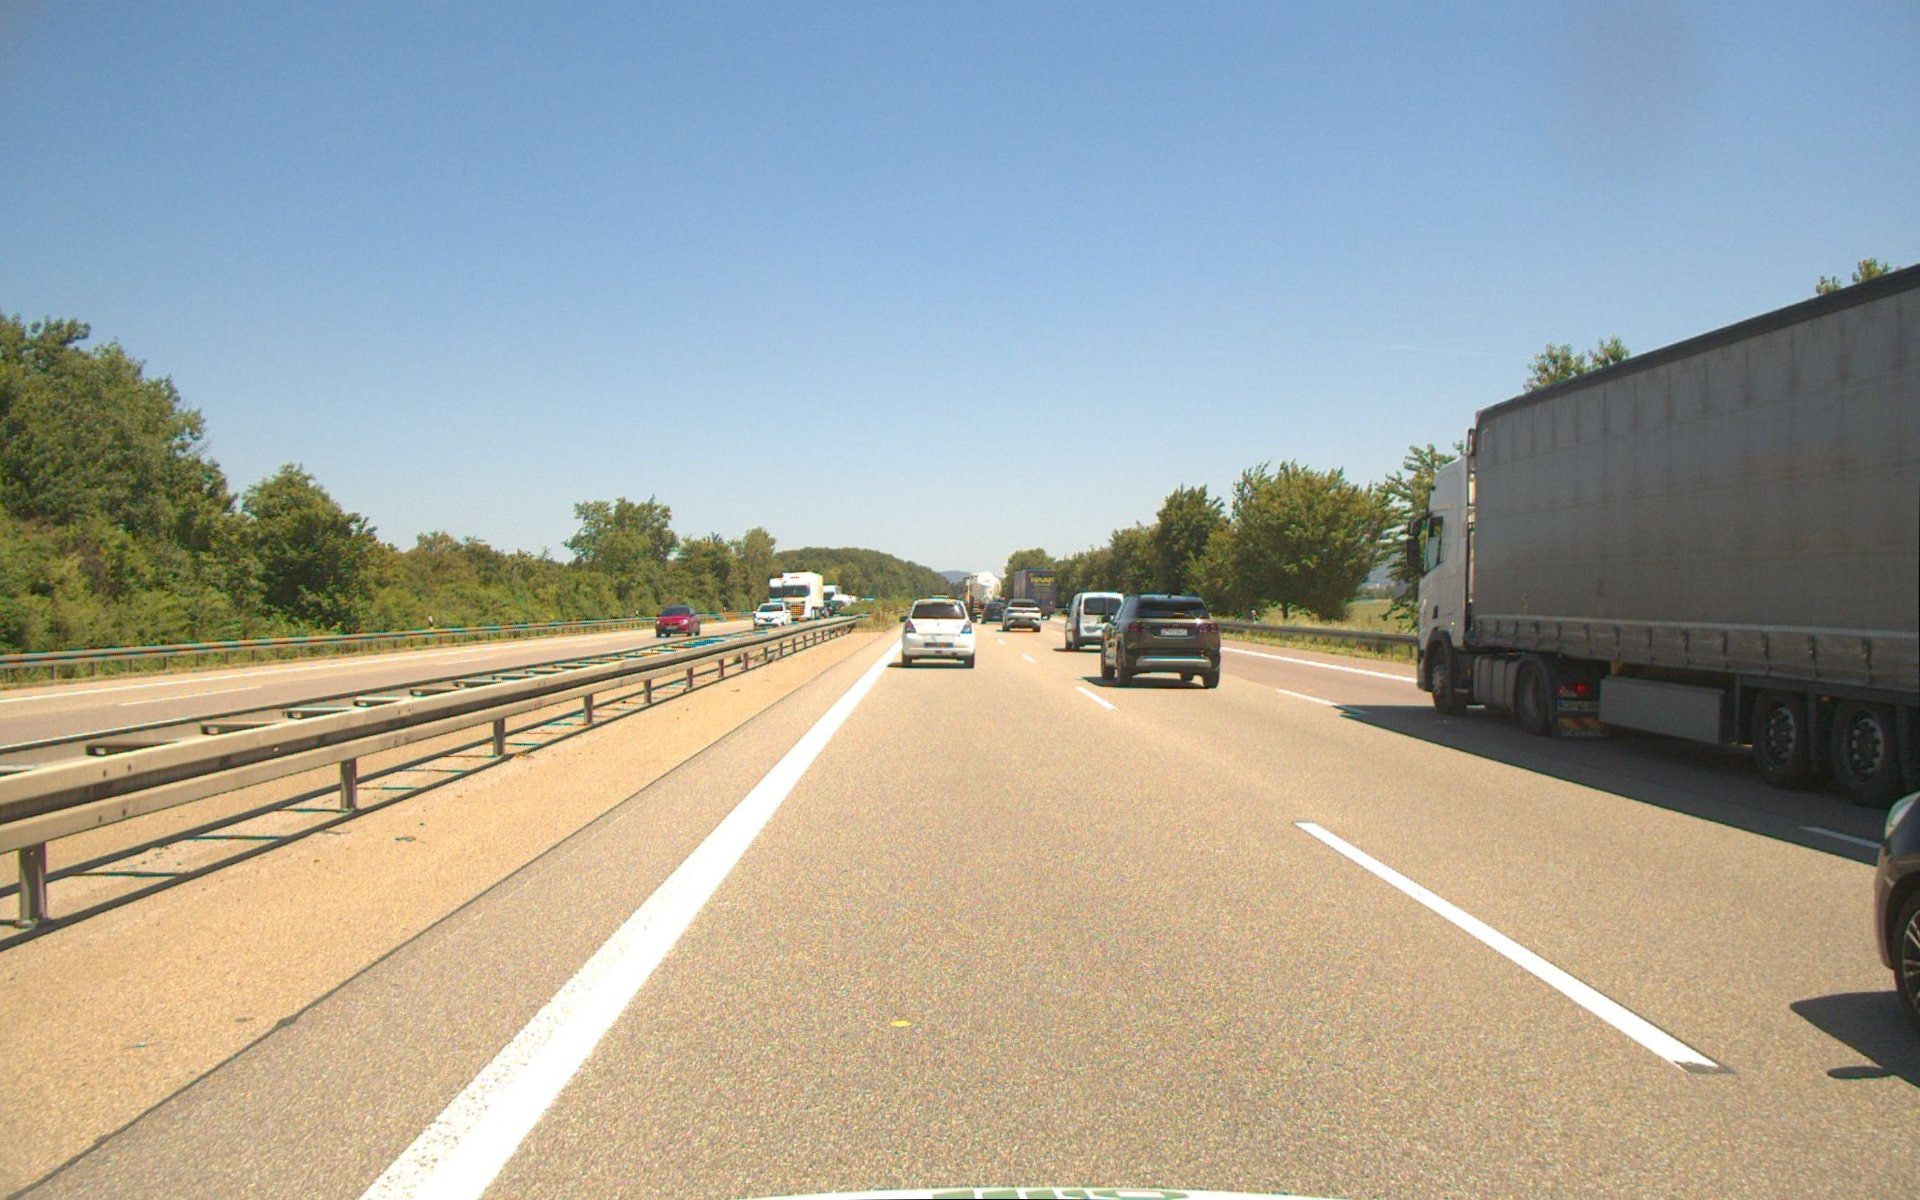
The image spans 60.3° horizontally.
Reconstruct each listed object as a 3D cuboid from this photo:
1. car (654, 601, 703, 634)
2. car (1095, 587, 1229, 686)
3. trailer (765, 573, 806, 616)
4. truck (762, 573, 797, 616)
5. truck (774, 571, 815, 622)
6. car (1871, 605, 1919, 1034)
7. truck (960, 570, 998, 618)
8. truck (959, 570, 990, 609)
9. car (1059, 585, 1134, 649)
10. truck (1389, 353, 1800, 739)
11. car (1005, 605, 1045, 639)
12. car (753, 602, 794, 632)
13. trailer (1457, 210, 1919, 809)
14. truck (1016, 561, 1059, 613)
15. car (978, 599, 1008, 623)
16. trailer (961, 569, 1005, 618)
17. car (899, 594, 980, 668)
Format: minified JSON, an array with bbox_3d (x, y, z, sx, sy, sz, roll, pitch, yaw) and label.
[{"bbox_3d":[-13.597,0.836,80.091,1.737,1.442,4.109,-2,0,-2],"label":"car"},{"bbox_3d":[3.746,0.653,31.452,1.829,1.704,4.744,1,0,-1],"label":"car"},{"bbox_3d":[-18.199,-0.524,173.252,2.701,4.174,14.051,-3,0,0],"label":"trailer"},{"bbox_3d":[-18.157,-0.539,166.682,2.701,4.174,6.151,-3,0,0],"label":"truck"},{"bbox_3d":[-14.153,-0.298,141.485,2.684,4.156,6.217,-2,0,0],"label":"truck"},{"bbox_3d":[4.246,0.782,4.411,1.653,1.499,3.431,1,0,-2],"label":"car"},{"bbox_3d":[1.699,-0.498,149.843,2.854,4.151,7.189,1,0,-4],"label":"truck"},{"bbox_3d":[1.643,-1.181,190.100,3.325,4.287,12.082,1,0,0],"label":"truck"},{"bbox_3d":[4.296,0.530,52.669,1.816,1.895,4.700,1,0,-2],"label":"car"},{"bbox_3d":[8.232,-0.610,22.599,2.752,4.380,7.192,1,0,0],"label":"truck"},{"bbox_3d":[3.259,1.099,83.918,1.765,1.631,4.380,1,0,-1],"label":"car"},{"bbox_3d":[-9.533,0.859,84.741,1.684,1.447,3.896,-2,0,-1],"label":"car"},{"bbox_3d":[8.331,-0.632,15.577,2.753,4.380,14.251,1,0,-1],"label":"trailer"},{"bbox_3d":[6.652,-1.036,143.875,3.045,4.211,15.510,1,0,0],"label":"truck"},{"bbox_3d":[2.200,0.714,111.111,1.812,1.549,3.956,1,0,-1],"label":"car"},{"bbox_3d":[1.982,-0.524,146.248,2.854,4.140,12.408,1,0,-4],"label":"trailer"},{"bbox_3d":[-0.489,0.691,38.331,1.763,1.579,3.609,1,0,-1],"label":"car"}]
